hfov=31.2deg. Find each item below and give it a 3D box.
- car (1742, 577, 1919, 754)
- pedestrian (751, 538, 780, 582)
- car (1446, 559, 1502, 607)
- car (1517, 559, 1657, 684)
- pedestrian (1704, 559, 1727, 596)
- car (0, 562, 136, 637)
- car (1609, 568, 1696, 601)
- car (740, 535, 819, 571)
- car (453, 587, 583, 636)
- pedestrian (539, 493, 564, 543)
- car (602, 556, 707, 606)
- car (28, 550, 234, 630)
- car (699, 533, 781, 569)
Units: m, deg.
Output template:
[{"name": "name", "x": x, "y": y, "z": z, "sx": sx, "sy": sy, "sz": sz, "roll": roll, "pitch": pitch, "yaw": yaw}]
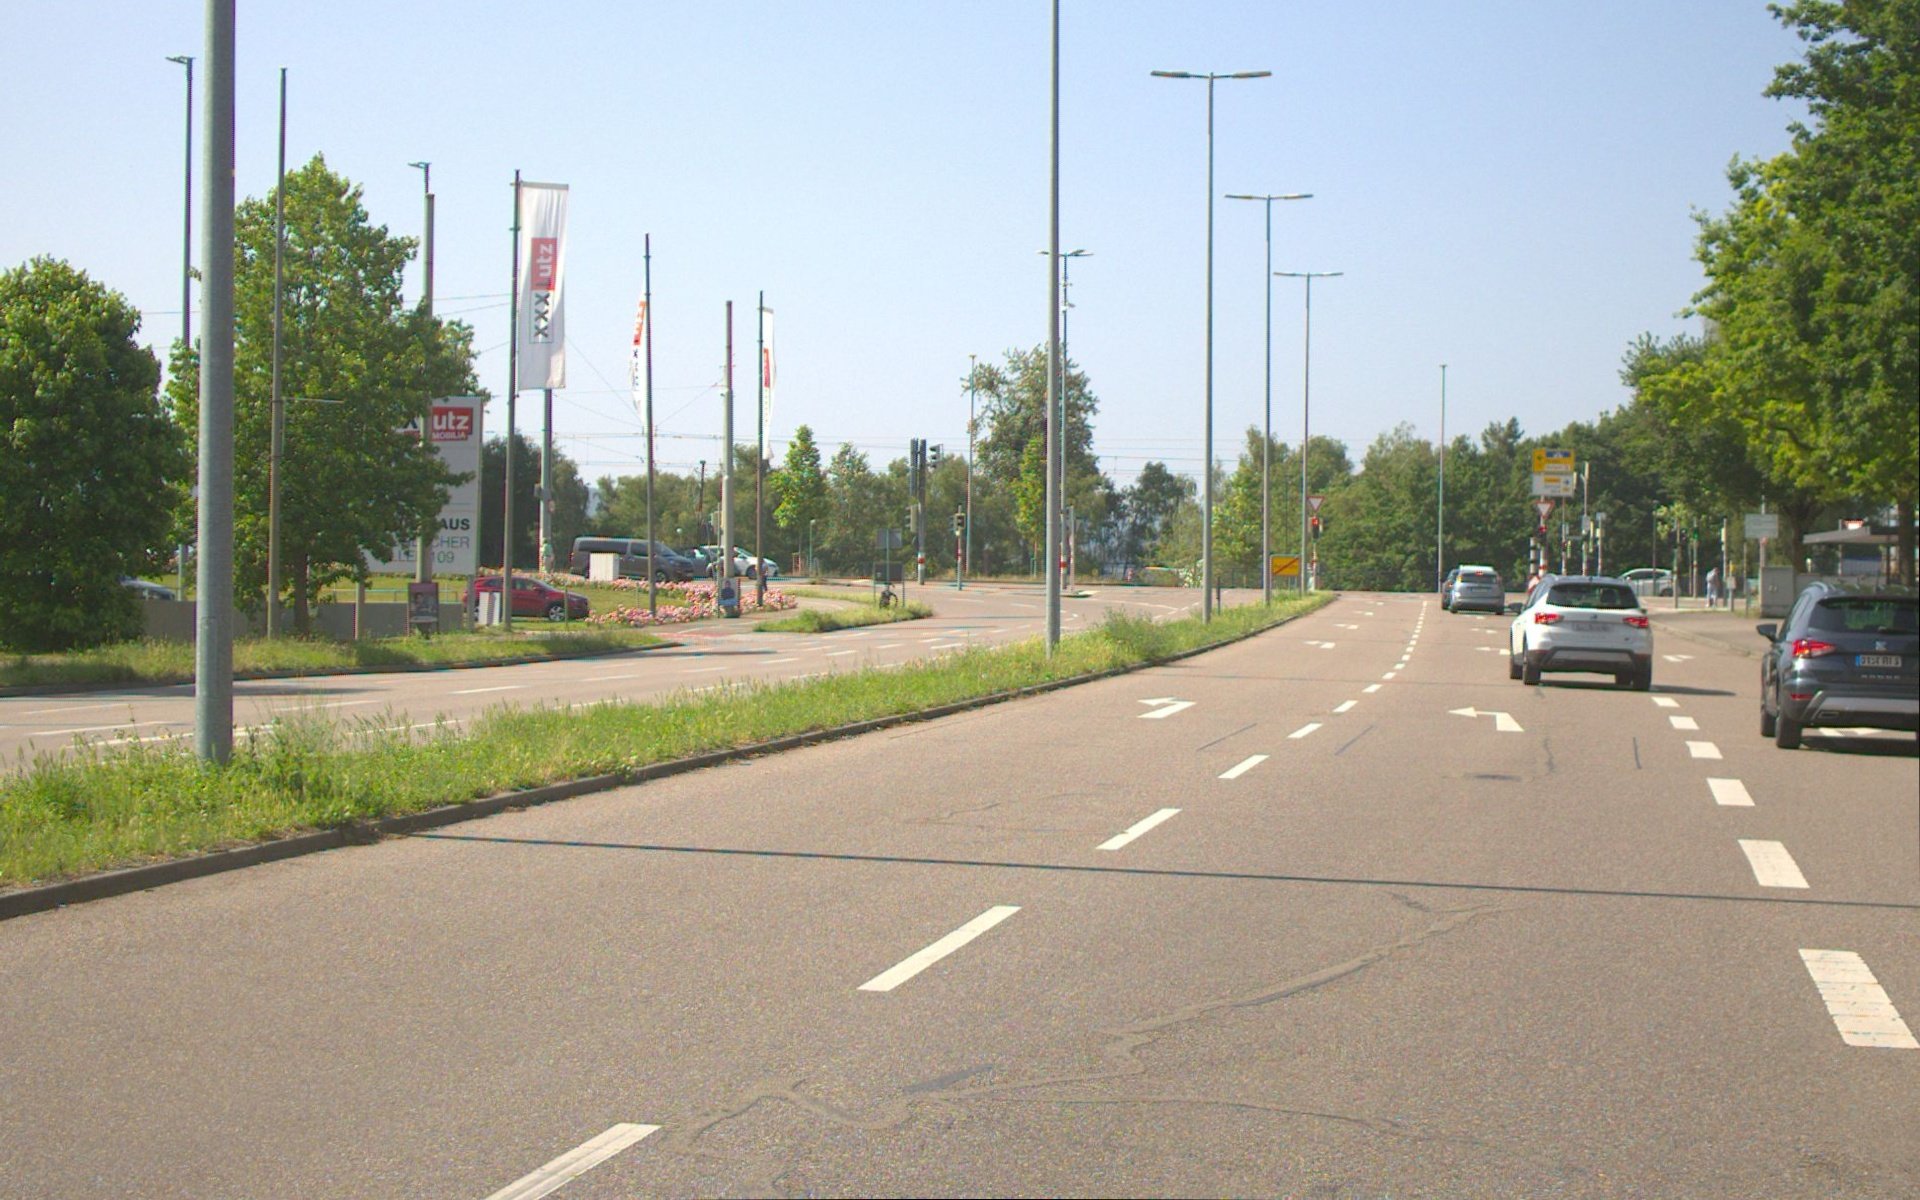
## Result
[{"name": "car", "x": 8.325, "y": 0.574, "z": 32.189, "sx": 1.670, "sy": 1.518, "sz": 3.375, "roll": 2, "pitch": 1, "yaw": 9}, {"name": "pedestrian", "x": -7.649, "y": -1.580, "z": 135.157, "sx": 0.841, "sy": 1.701, "sz": 0.905, "roll": 0, "pitch": 1, "yaw": 20}, {"name": "car", "x": 17.215, "y": -0.570, "z": 115.206, "sx": 1.706, "sy": 1.568, "sz": 4.173, "roll": 0, "pitch": 1, "yaw": 6}, {"name": "car", "x": 8.681, "y": 0.266, "z": 47.812, "sx": 1.631, "sy": 1.493, "sz": 3.869, "roll": 2, "pitch": 3, "yaw": 7}, {"name": "pedestrian", "x": 30.685, "y": -0.916, "z": 139.579, "sx": 0.773, "sy": 1.505, "sz": 1.006, "roll": 1, "pitch": 2, "yaw": 19}, {"name": "car", "x": -21.193, "y": -0.023, "z": 78.062, "sx": 4.413, "sy": 1.622, "sz": 1.871, "roll": 1, "pitch": -1, "yaw": 6}, {"name": "car", "x": 33.765, "y": -0.747, "z": 167.674, "sx": 4.075, "sy": 1.541, "sz": 1.799, "roll": 1, "pitch": 0, "yaw": 13}, {"name": "car", "x": -8.086, "y": -2.109, "z": 154.219, "sx": 3.343, "sy": 1.495, "sz": 1.409, "roll": 1, "pitch": -1, "yaw": 4}, {"name": "car", "x": -15.346, "y": 0.396, "z": 119.494, "sx": 4.183, "sy": 1.600, "sz": 1.826, "roll": 1, "pitch": -1, "yaw": 4}, {"name": "pedestrian", "x": -16.448, "y": -3.315, "z": 138.488, "sx": 0.716, "sy": 1.965, "sz": 0.917, "roll": 1, "pitch": -1, "yaw": 12}, {"name": "car", "x": -12.749, "y": -0.795, "z": 143.554, "sx": 3.994, "sy": 1.918, "sz": 1.813, "roll": 3, "pitch": 2, "yaw": 30}, {"name": "car", "x": -19.962, "y": -0.239, "z": 82.883, "sx": 4.414, "sy": 1.836, "sz": 1.945, "roll": 1, "pitch": 0, "yaw": 8}, {"name": "car", "x": -9.670, "y": -2.150, "z": 151.054, "sx": 3.386, "sy": 1.495, "sz": 1.409, "roll": 1, "pitch": -1, "yaw": 6}]
